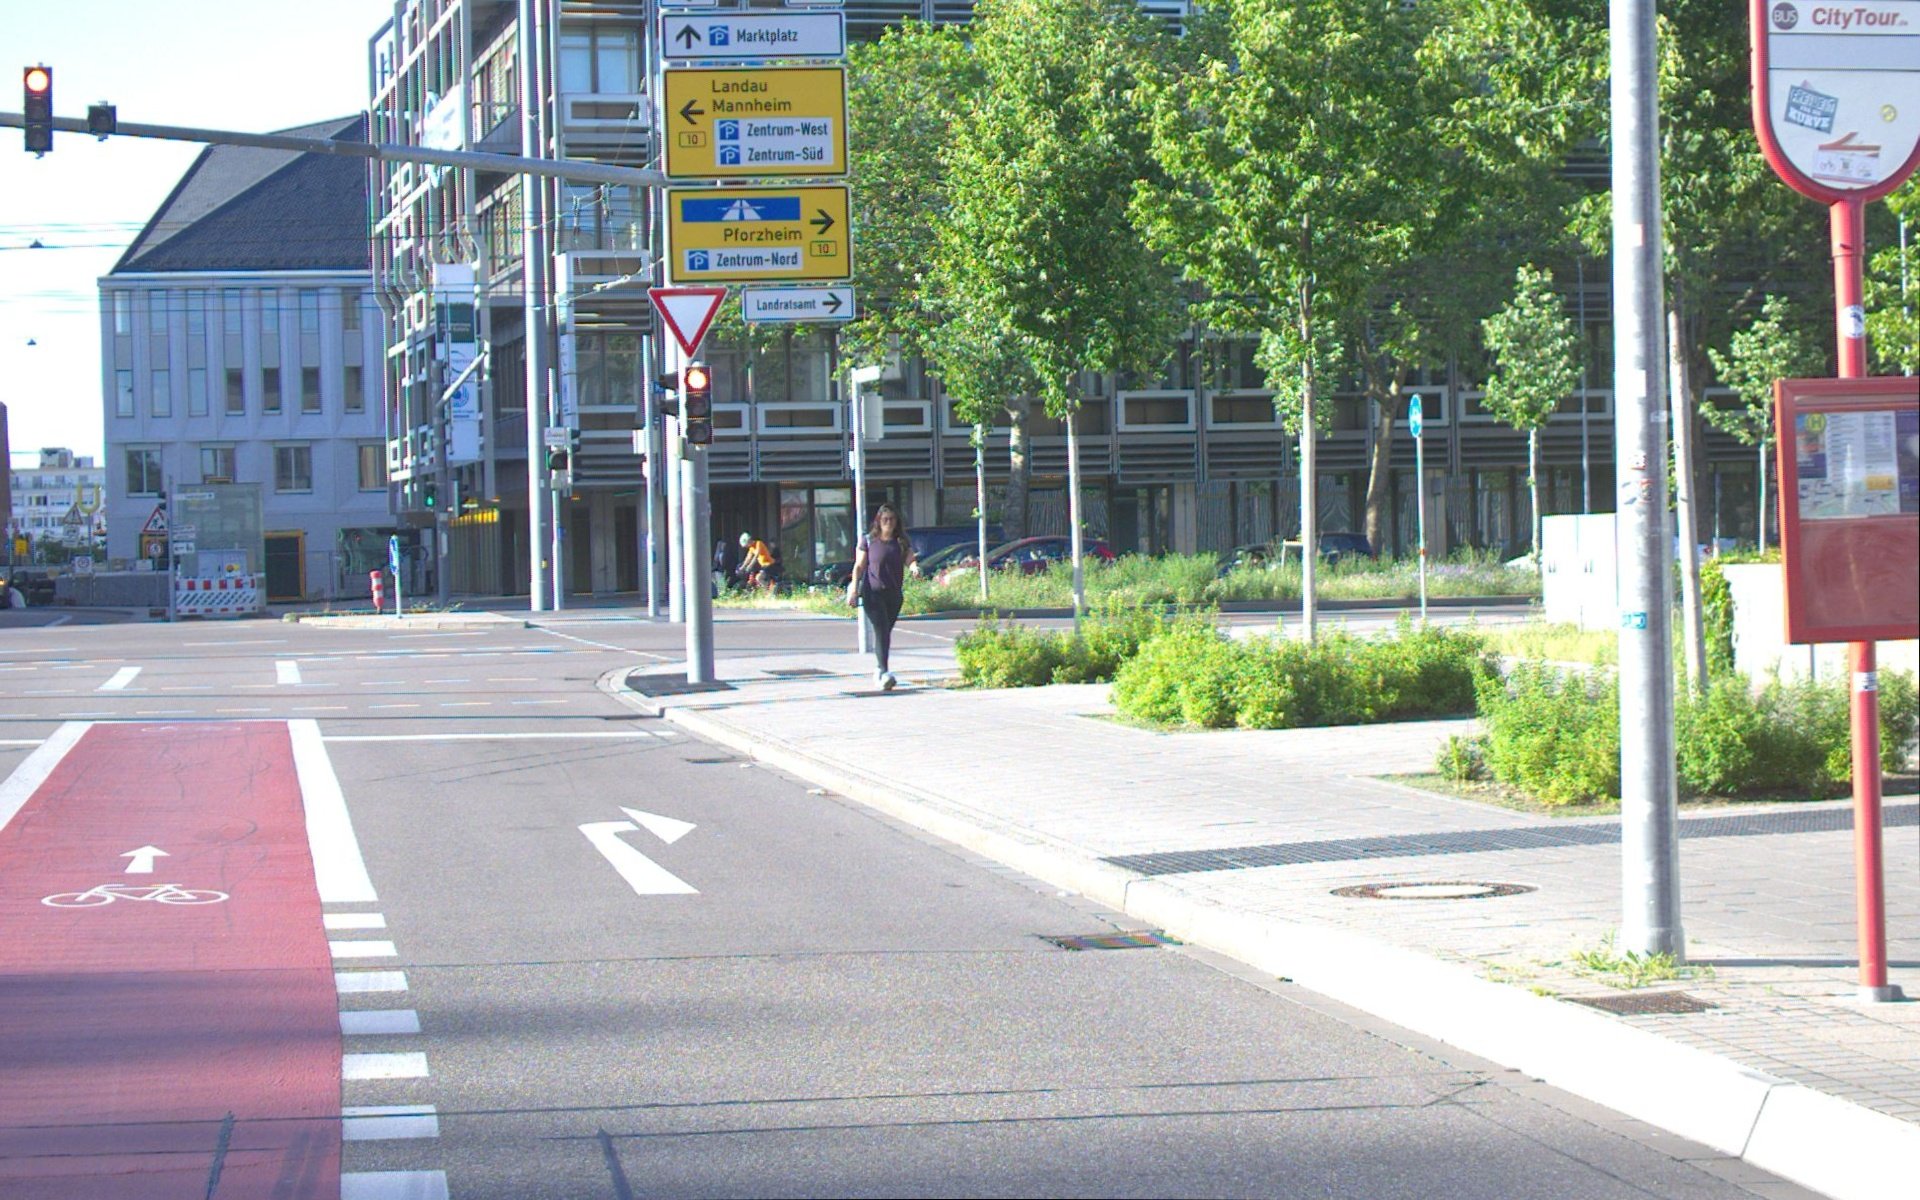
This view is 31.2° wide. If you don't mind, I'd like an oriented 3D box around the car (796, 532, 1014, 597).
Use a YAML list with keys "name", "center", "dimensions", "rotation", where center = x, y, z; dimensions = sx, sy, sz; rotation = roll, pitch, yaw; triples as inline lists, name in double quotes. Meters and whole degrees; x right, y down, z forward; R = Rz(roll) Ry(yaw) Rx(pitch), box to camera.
- name: "car"
  center: [-1.276, -0.828, 78.907]
  dimensions: [4.629, 1.351, 2.001]
  rotation: [-1, 3, -14]

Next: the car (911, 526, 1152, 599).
- name: "car"
  center: [1.480, -0.798, 71.642]
  dimensions: [4.629, 1.351, 2.001]
  rotation: [-1, 3, -14]

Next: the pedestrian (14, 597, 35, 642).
- name: "pedestrian"
  center: [-35.191, 0.723, 129.364]
  dimensions: [0.714, 1.662, 0.988]
  rotation: [-2, 1, -16]

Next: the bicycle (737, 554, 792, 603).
- name: "bicycle"
  center: [-4.079, -0.450, 71.618]
  dimensions: [1.076, 0.967, 0.458]
  rotation: [-2, 1, -8]

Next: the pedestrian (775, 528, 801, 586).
- name: "pedestrian"
  center: [-4.523, -1.125, 90.329]
  dimensions: [0.623, 1.513, 0.653]
  rotation: [-1, 1, -2]

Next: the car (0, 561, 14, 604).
- name: "car"
  center: [-36.400, -0.633, 128.180]
  dimensions: [1.993, 1.546, 4.001]
  rotation: [-2, 1, -17]

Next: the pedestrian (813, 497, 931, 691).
- name: "pedestrian"
  center: [-0.811, -0.066, 31.928]
  dimensions: [0.822, 1.742, 1.041]
  rotation: [-2, 1, 11]

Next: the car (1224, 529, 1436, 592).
- name: "car"
  center: [8.825, -0.948, 82.081]
  dimensions: [4.629, 1.351, 2.001]
  rotation: [-1, 3, -14]

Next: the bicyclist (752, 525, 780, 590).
- name: "bicyclist"
  center: [-4.037, -0.886, 71.623]
  dimensions: [0.508, 1.333, 0.453]
  rotation: [-2, 1, -8]

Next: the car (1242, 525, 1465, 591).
- name: "car"
  center: [8.954, -0.976, 78.414]
  dimensions: [4.629, 1.351, 2.001]
  rotation: [-1, 3, -14]
